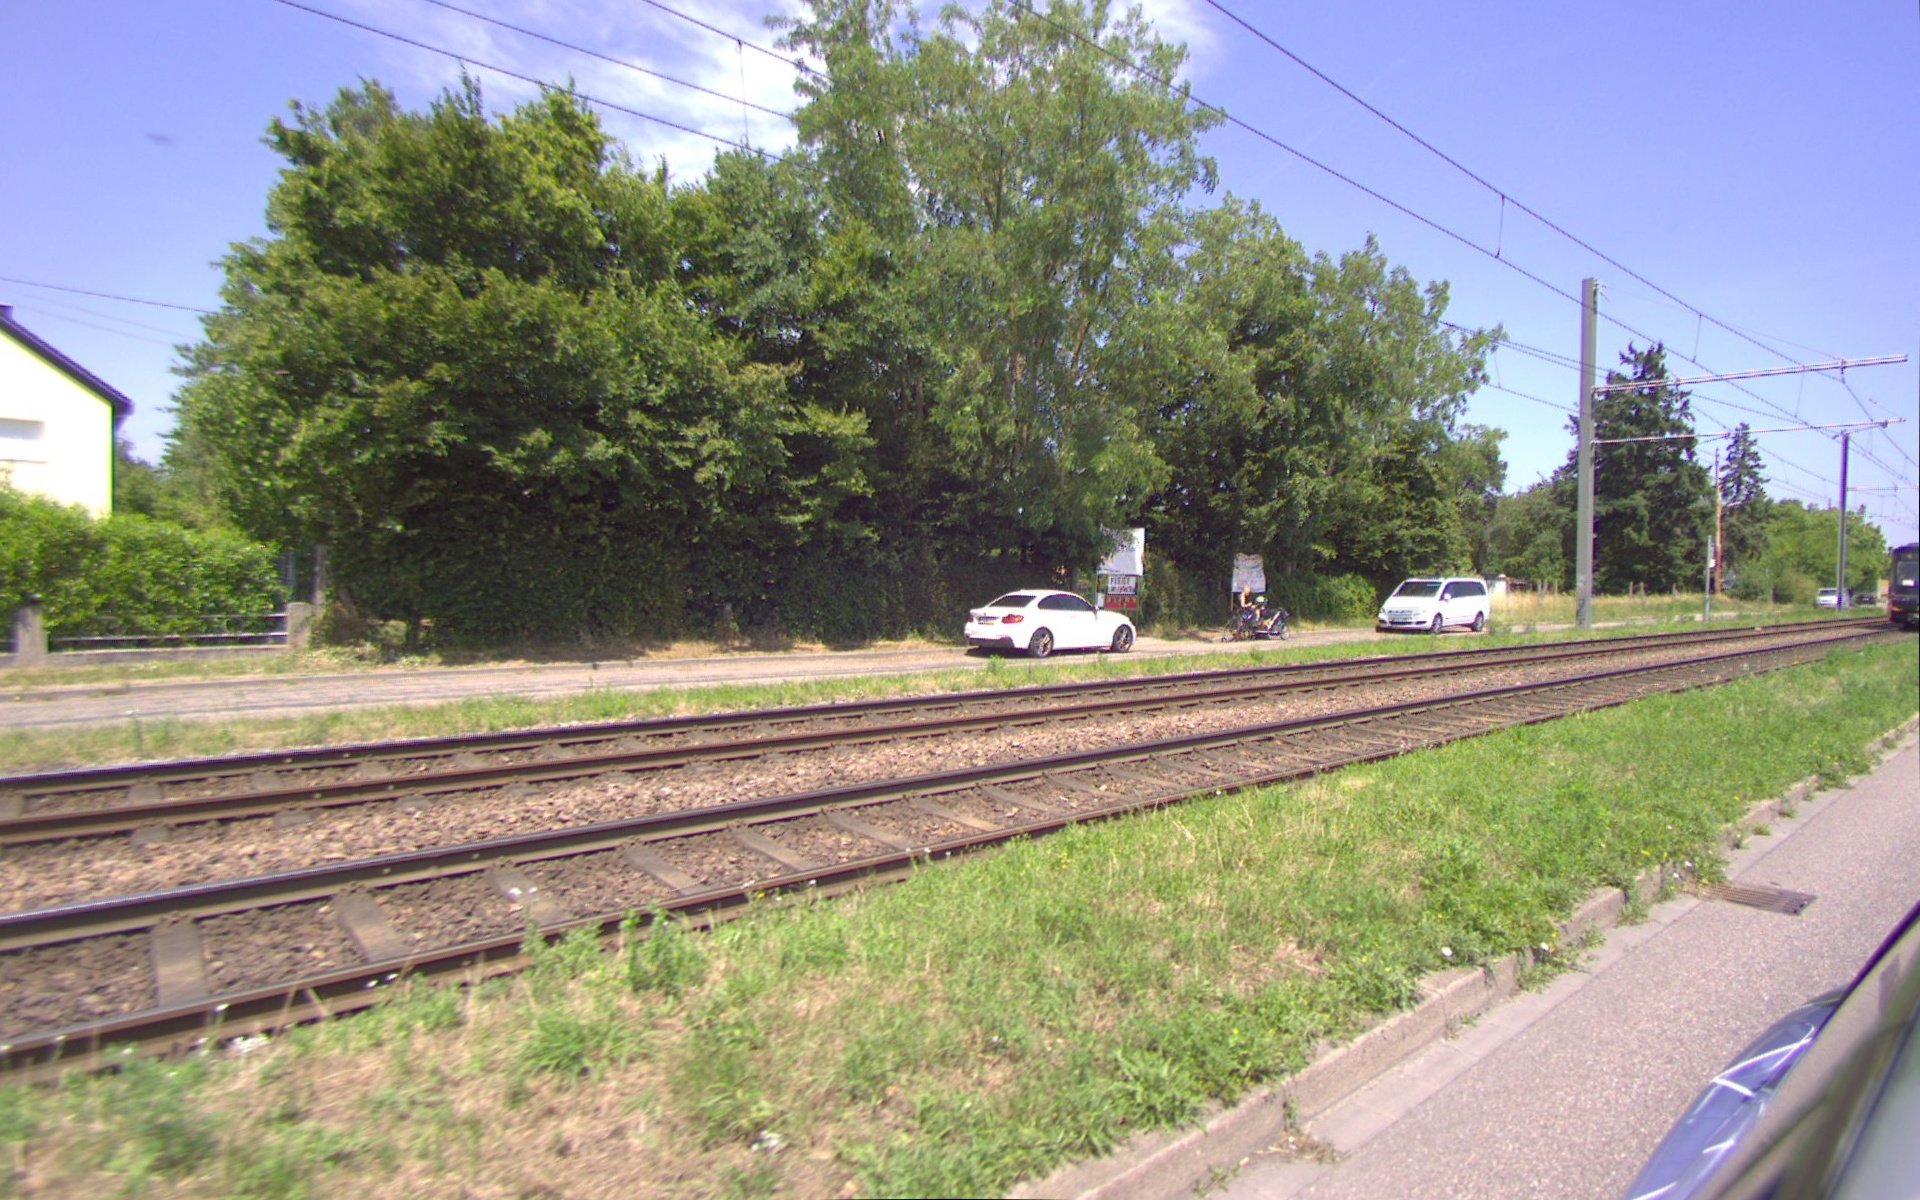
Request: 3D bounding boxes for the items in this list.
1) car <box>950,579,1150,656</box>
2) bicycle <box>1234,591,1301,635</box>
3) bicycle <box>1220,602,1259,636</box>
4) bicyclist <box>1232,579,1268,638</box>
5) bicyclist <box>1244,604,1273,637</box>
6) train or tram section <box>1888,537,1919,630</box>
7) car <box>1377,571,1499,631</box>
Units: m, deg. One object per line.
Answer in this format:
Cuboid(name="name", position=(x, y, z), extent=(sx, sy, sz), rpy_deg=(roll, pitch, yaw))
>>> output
Cuboid(name="car", position=(2.079, 0.309, 22.528), extent=(4.549, 1.467, 1.801), rpy_deg=(-2, 3, -41))
Cuboid(name="bicycle", position=(8.903, 0.360, 29.310), extent=(1.629, 1.160, 1.148), rpy_deg=(-2, 3, -41))
Cuboid(name="bicycle", position=(7.882, 0.522, 28.513), extent=(0.784, 0.886, 0.750), rpy_deg=(-1, 3, -40))
Cuboid(name="bicyclist", position=(8.214, 0.219, 28.681), extent=(0.609, 1.608, 0.911), rpy_deg=(2, 3, 45))
Cuboid(name="bicyclist", position=(8.708, 0.593, 29.537), extent=(0.522, 0.886, 0.750), rpy_deg=(2, 3, 45))
Cuboid(name="train or tram section", position=(42.858, -0.778, 43.718), extent=(10.991, 3.734, 2.771), rpy_deg=(-2, 3, -41))
Cuboid(name="car", position=(16.666, -0.039, 35.162), extent=(4.927, 1.898, 1.998), rpy_deg=(-2, 3, -41))
